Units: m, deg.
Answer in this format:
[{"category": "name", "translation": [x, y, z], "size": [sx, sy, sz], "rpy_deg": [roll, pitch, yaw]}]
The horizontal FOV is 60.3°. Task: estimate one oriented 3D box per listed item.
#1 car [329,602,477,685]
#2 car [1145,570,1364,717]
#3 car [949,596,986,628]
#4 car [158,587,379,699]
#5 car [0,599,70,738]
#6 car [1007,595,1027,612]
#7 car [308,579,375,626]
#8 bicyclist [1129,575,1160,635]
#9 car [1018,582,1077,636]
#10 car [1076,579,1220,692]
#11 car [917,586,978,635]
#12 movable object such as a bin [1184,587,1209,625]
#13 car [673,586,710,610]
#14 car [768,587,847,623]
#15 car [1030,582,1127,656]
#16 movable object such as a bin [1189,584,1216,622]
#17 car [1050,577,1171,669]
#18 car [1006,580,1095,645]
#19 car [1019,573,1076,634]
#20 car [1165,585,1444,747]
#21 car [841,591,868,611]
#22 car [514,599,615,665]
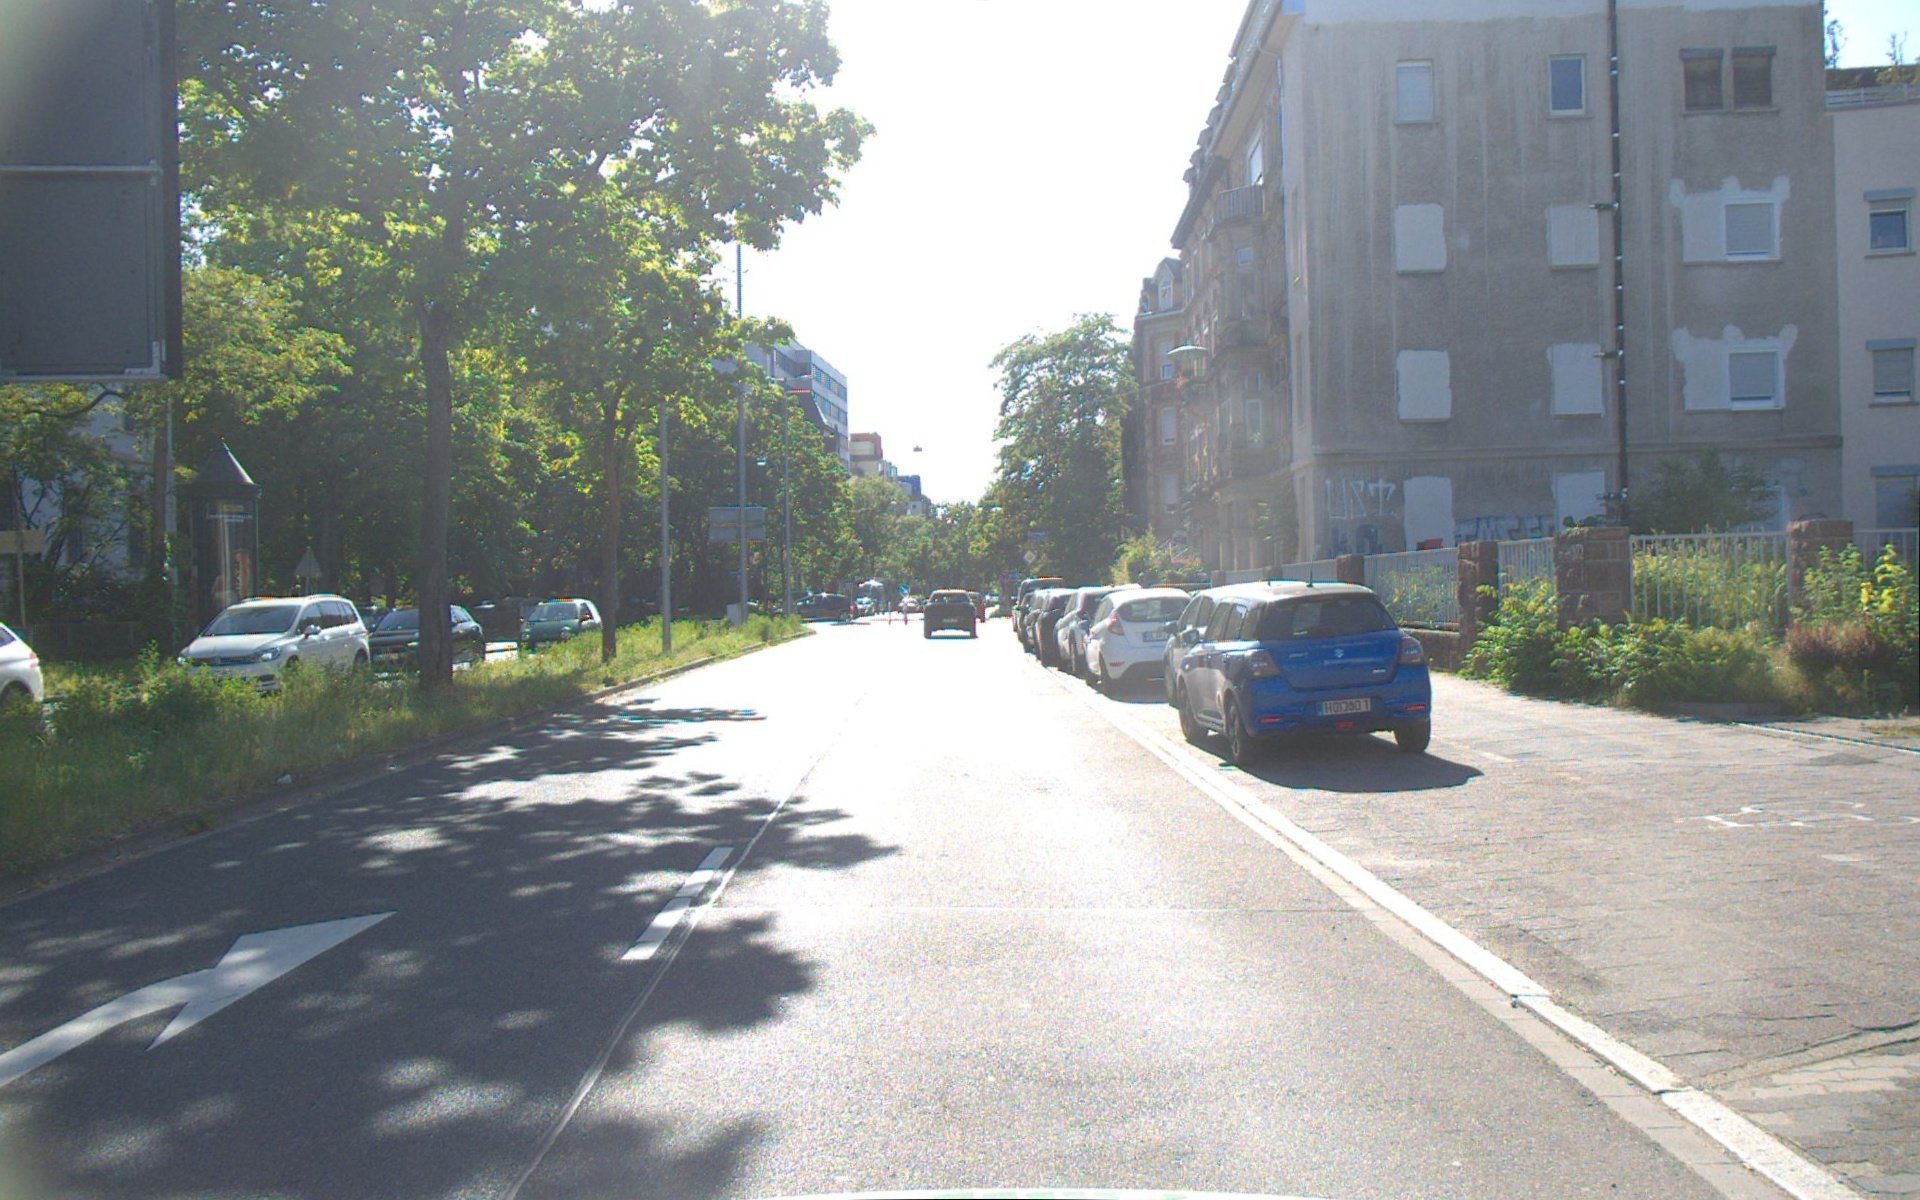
[{"category": "car", "translation": [-11.591, 0.882, 34.683], "size": [1.759, 1.545, 4.085], "rpy_deg": [-3, -1, -2]}, {"category": "car", "translation": [3.491, 0.461, 20.315], "size": [1.635, 1.485, 3.983], "rpy_deg": [-5, 1, -4]}, {"category": "car", "translation": [0.347, 0.592, 82.991], "size": [1.756, 1.547, 3.848], "rpy_deg": [0, -1, -1]}, {"category": "car", "translation": [-11.508, 0.662, 27.907], "size": [1.862, 1.654, 4.535], "rpy_deg": [-3, 0, -2]}, {"category": "car", "translation": [-11.731, 0.809, 17.719], "size": [1.801, 1.545, 4.666], "rpy_deg": [-1, 1, 0]}, {"category": "car", "translation": [6.059, 0.351, 175.504], "size": [1.880, 1.668, 4.002], "rpy_deg": [-2, 0, 4]}, {"category": "car", "translation": [-34.967, 0.176, 93.616], "size": [1.807, 2.365, 4.984], "rpy_deg": [0, -3, 0]}, {"category": "bicyclist", "translation": [5.000, 0.123, 44.865], "size": [0.726, 1.607, 1.100], "rpy_deg": [0, 1, 1]}, {"category": "car", "translation": [2.593, 0.246, 49.757], "size": [1.633, 1.493, 4.275], "rpy_deg": [-2, 1, 2]}, {"category": "car", "translation": [2.791, 0.484, 25.252], "size": [1.576, 1.471, 3.657], "rpy_deg": [-5, 1, -2]}, {"category": "car", "translation": [-0.449, 0.331, 55.243], "size": [1.857, 1.545, 3.997], "rpy_deg": [1, 0, -3]}, {"category": "movable object such as a bin", "translation": [7.595, 0.194, 53.089], "size": [0.707, 1.177, 0.608], "rpy_deg": [0, -3, 1]}, {"category": "car", "translation": [-19.519, -0.147, 120.118], "size": [1.946, 1.691, 3.976], "rpy_deg": [-2, 1, -20]}, {"category": "car", "translation": [-7.528, 0.247, 81.785], "size": [3.772, 1.662, 1.619], "rpy_deg": [0, -3, -3]}, {"category": "car", "translation": [2.443, 0.368, 34.813], "size": [1.634, 1.418, 3.774], "rpy_deg": [-2, 1, -2]}, {"category": "movable object such as a bin", "translation": [7.636, 0.101, 52.107], "size": [0.743, 1.177, 0.608], "rpy_deg": [0, -3, 1]}, {"category": "car", "translation": [2.707, 0.380, 30.456], "size": [1.635, 1.545, 3.658], "rpy_deg": [-2, 1, -4]}, {"category": "car", "translation": [2.291, 0.282, 42.817], "size": [1.896, 1.545, 4.483], "rpy_deg": [-2, 1, -2]}, {"category": "car", "translation": [2.863, 0.084, 54.876], "size": [1.781, 1.876, 4.365], "rpy_deg": [-2, 1, 2]}, {"category": "car", "translation": [3.121, 0.532, 15.768], "size": [1.635, 1.203, 3.899], "rpy_deg": [-5, 1, -2]}, {"category": "car", "translation": [-8.215, 0.081, 129.432], "size": [1.491, 1.457, 3.340], "rpy_deg": [-1, 1, 7]}, {"category": "car", "translation": [-10.082, 0.771, 42.435], "size": [1.605, 1.545, 4.257], "rpy_deg": [-2, 0, -2]}]
